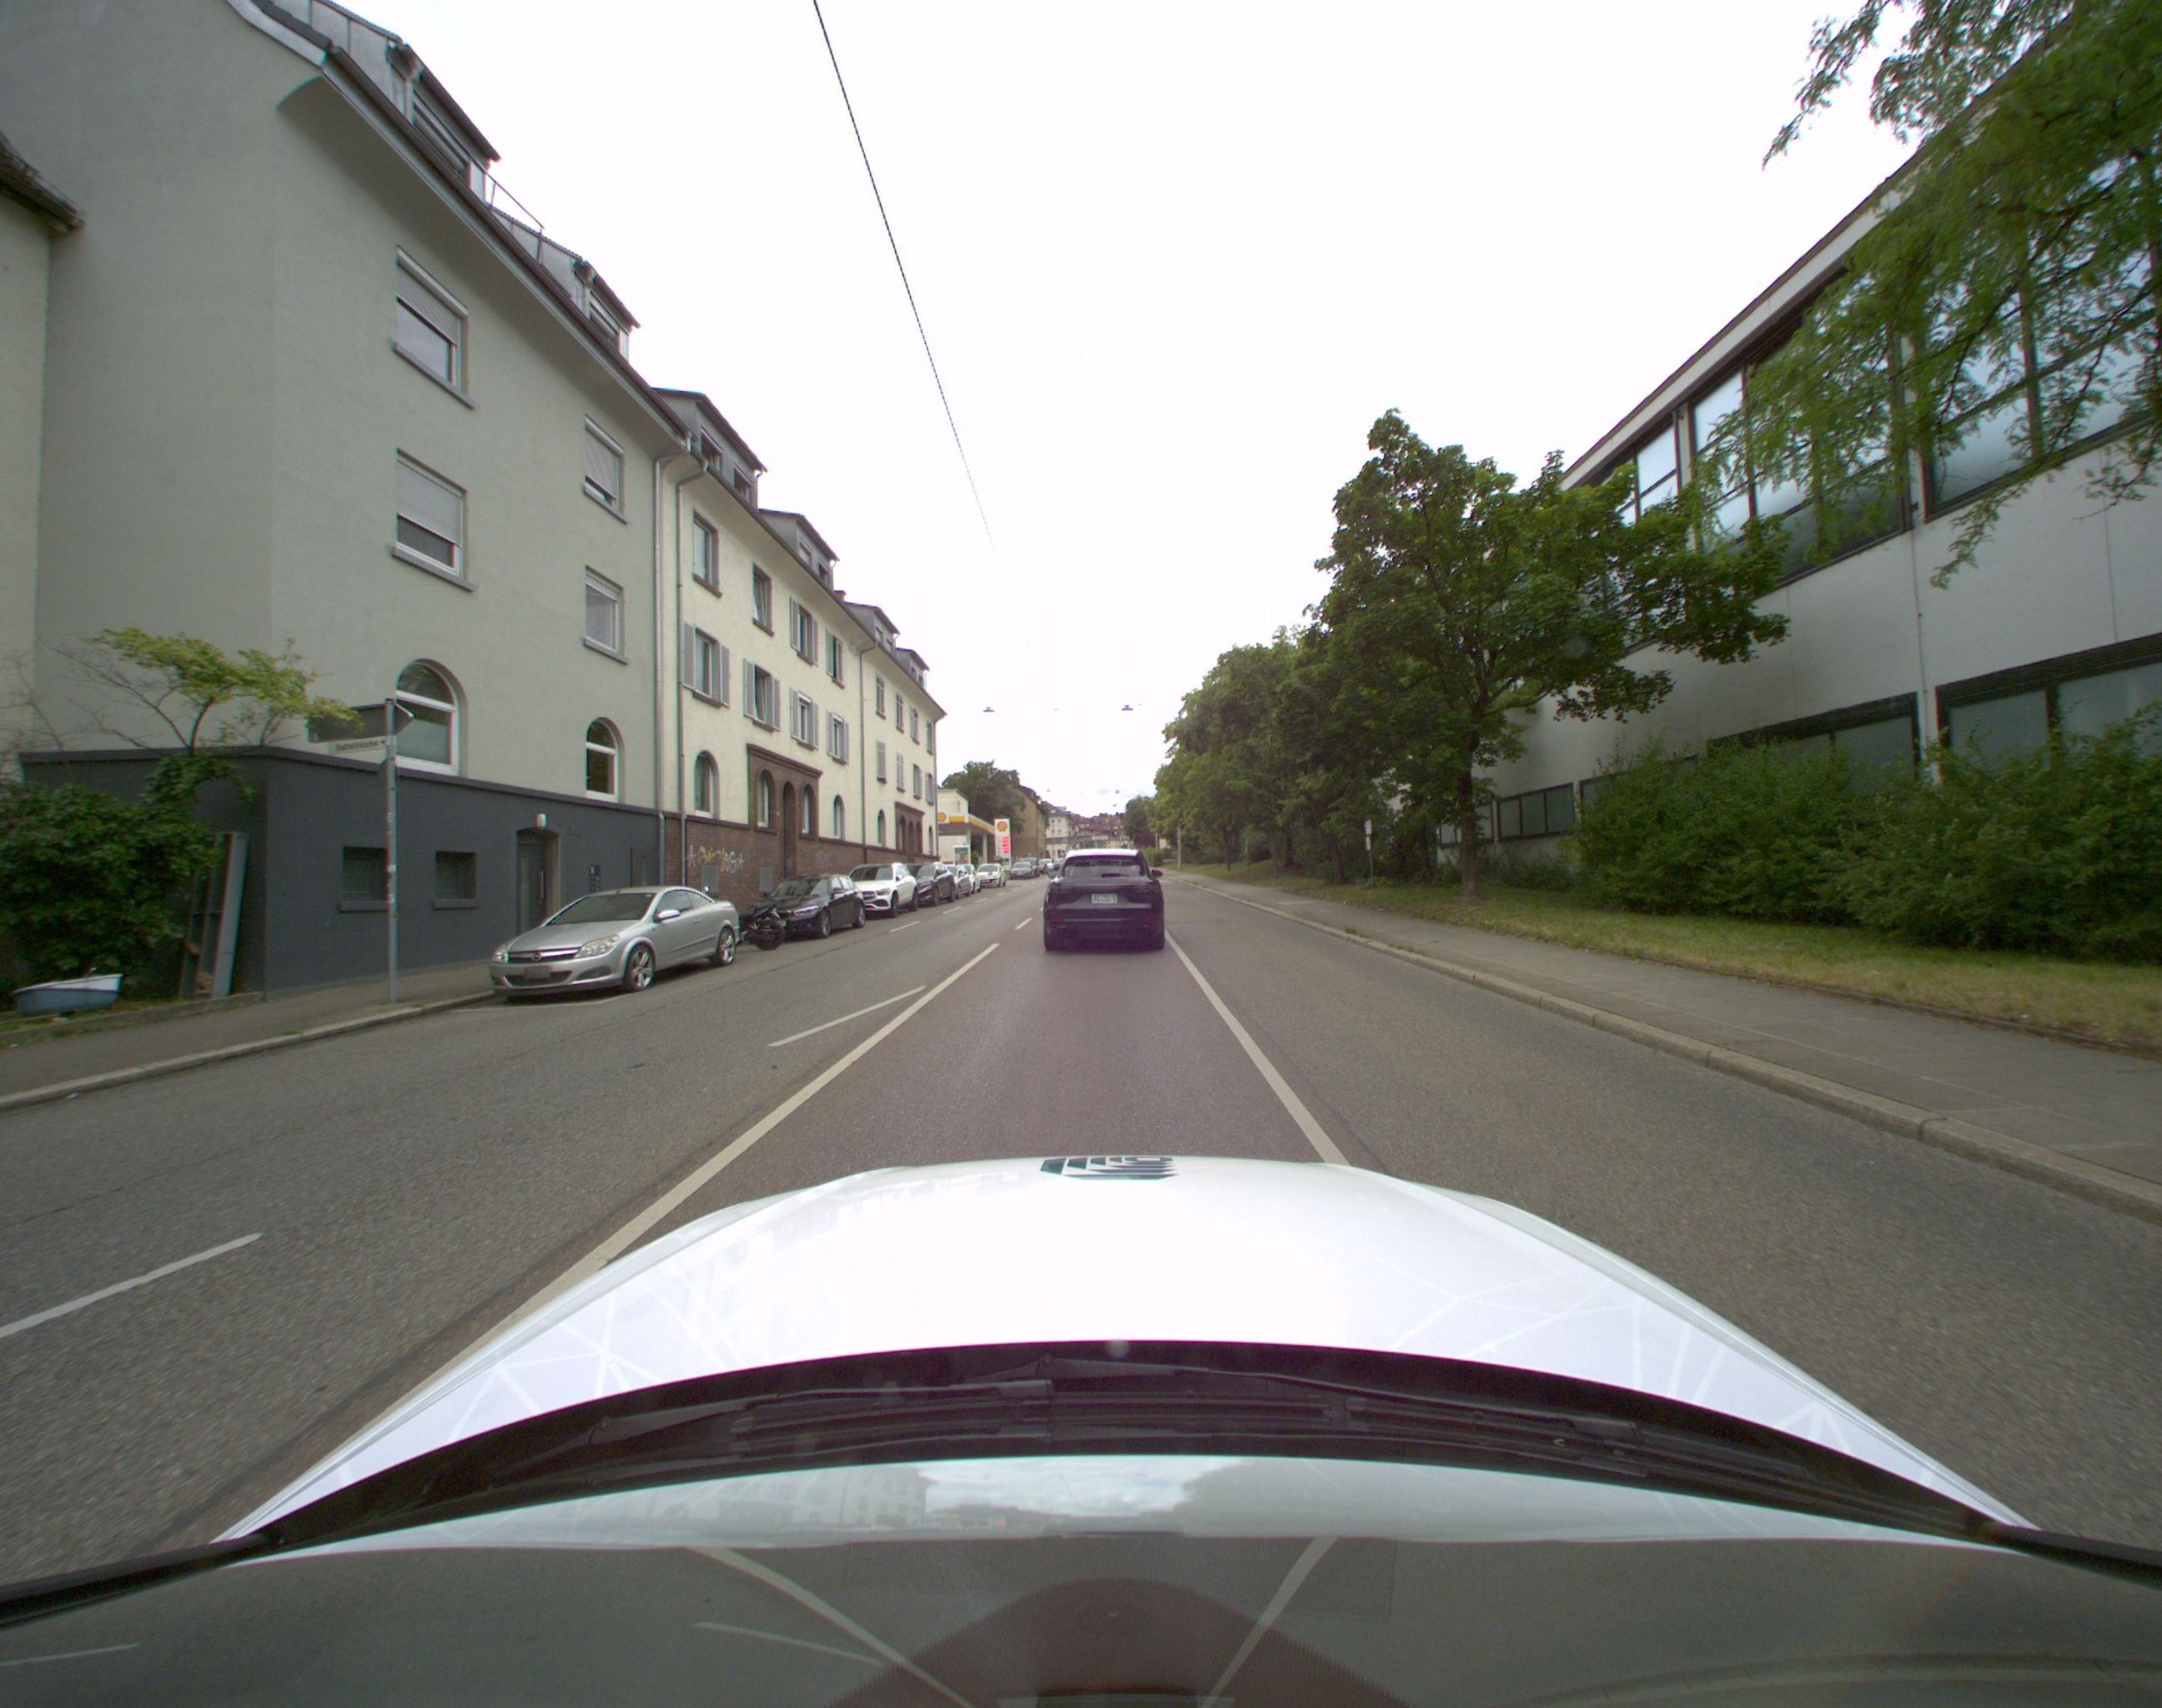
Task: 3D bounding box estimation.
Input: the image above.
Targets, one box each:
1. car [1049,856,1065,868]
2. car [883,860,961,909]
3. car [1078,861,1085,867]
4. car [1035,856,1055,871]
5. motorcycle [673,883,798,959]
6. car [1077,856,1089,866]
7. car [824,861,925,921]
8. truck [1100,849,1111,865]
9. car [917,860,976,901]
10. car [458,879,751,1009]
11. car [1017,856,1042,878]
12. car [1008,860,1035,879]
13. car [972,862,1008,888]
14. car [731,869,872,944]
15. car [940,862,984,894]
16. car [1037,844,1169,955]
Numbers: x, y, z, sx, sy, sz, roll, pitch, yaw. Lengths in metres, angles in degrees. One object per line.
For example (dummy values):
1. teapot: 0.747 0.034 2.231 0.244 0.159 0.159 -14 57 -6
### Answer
1. car: -3.401 1.172 116.582 1.775 1.609 4.268 -4 -1 3
2. car: -5.896 1.089 30.753 1.719 1.599 4.506 -2 0 4
3. car: 0.248 2.835 224.457 1.758 1.508 4.002 -2 -1 3
4. car: -4.144 1.102 94.981 1.908 1.577 4.702 -3 -1 2
5. motorcycle: -6.599 1.258 15.672 2.045 1.235 0.803 -4 0 -16
6. car: 0.279 1.128 134.840 1.791 1.525 4.002 -3 0 2
7. car: -6.362 1.084 25.611 1.839 1.621 4.644 -2 0 1
8. truck: 5.725 0.719 188.924 2.258 3.424 9.881 -2 -1 2
9. car: -5.876 1.117 36.051 1.721 1.558 4.082 -4 -1 1
10. car: -6.684 1.162 12.093 1.721 1.374 4.337 -2 0 1
11. car: -4.690 1.199 74.231 1.845 1.835 4.701 -3 0 0
12. car: -4.944 1.266 68.469 1.784 1.450 4.220 -3 0 2
13. car: -5.581 1.289 50.431 1.613 1.425 3.667 -2 0 2
14. car: -6.415 1.153 19.238 1.720 1.429 4.193 -2 0 2
15. car: -5.954 1.189 41.048 1.542 1.475 3.605 -2 0 2
16. car: 0.418 0.695 14.524 1.986 1.662 4.002 -1 0 2
